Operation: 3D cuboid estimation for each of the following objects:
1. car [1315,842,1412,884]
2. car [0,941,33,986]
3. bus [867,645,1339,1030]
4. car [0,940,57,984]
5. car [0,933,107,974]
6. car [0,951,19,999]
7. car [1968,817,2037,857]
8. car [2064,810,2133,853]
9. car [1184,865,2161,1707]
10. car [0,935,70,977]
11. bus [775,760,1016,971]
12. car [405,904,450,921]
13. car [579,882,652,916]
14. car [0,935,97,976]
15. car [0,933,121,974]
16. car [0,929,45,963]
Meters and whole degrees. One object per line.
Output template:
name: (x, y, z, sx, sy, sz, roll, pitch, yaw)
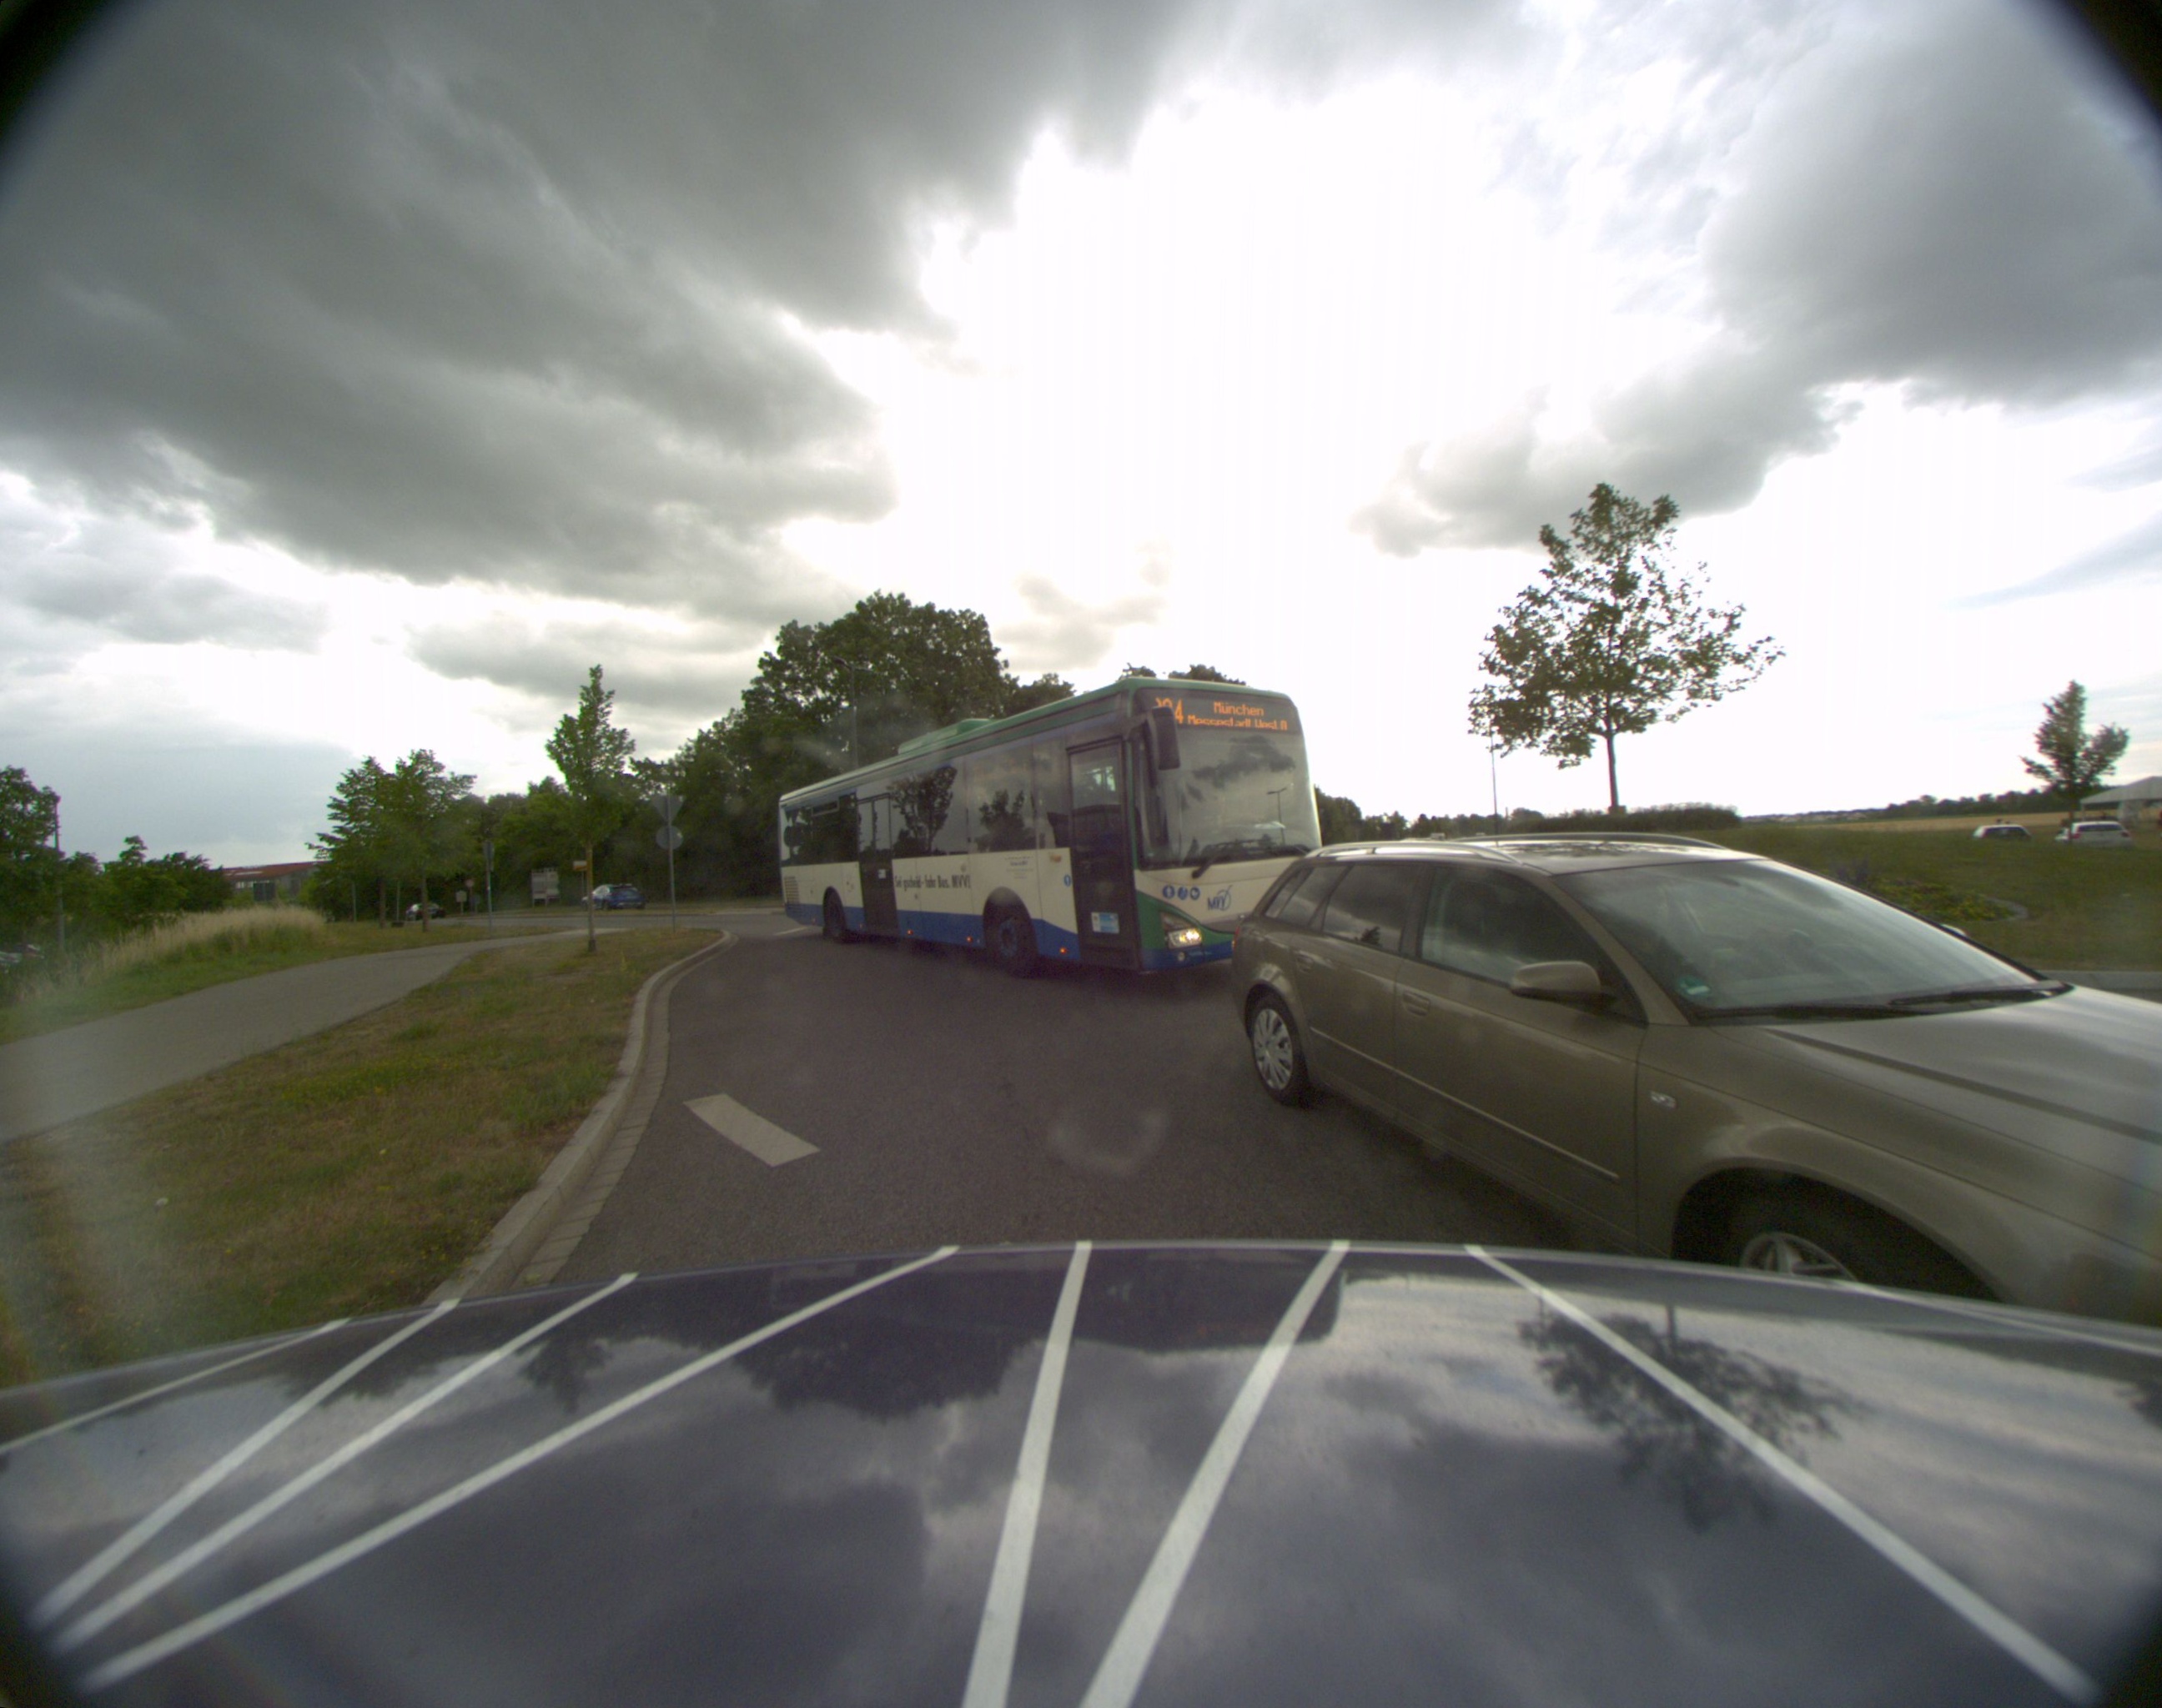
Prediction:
car: (12.473, 0.380, 33.427, 4.466, 1.558, 1.968, -3, 0, -39)
car: (-39.388, 3.972, 25.949, 3.896, 1.455, 1.693, -3, 0, -41)
bus: (-0.290, -0.154, 9.779, 2.529, 3.239, 6.531, -3, 1, -36)
car: (-41.550, 4.174, 28.184, 3.896, 1.455, 1.693, -3, 0, -41)
car: (-48.004, 4.577, 34.760, 3.896, 1.455, 1.693, -3, 0, -41)
car: (-36.510, 4.022, 23.511, 3.896, 1.455, 1.693, -3, 0, -41)
car: (43.588, -0.816, 35.918, 4.006, 1.544, 1.712, -5, 0, -36)
car: (45.462, -1.011, 33.928, 4.006, 1.544, 1.712, -5, 0, -36)
car: (2.093, 0.799, 2.979, 1.784, 1.456, 4.536, -2, 0, -14)
car: (-43.849, 4.216, 30.327, 3.896, 1.455, 1.693, -3, 0, -41)
bus: (-3.789, 0.150, 14.625, 2.529, 3.239, 5.446, -3, 1, -36)
car: (-53.513, 4.781, 62.210, 4.104, 1.299, 1.834, -3, -1, 36)
car: (-24.528, 2.388, 40.007, 4.072, 1.422, 1.766, -6, 0, 37)
car: (-46.395, 4.496, 33.174, 3.896, 1.455, 1.693, -3, 0, -41)
car: (-49.028, 4.714, 36.108, 3.896, 1.455, 1.693, -3, 0, -41)
car: (-52.918, 4.548, 36.226, 1.879, 1.435, 4.007, -3, 0, 34)
